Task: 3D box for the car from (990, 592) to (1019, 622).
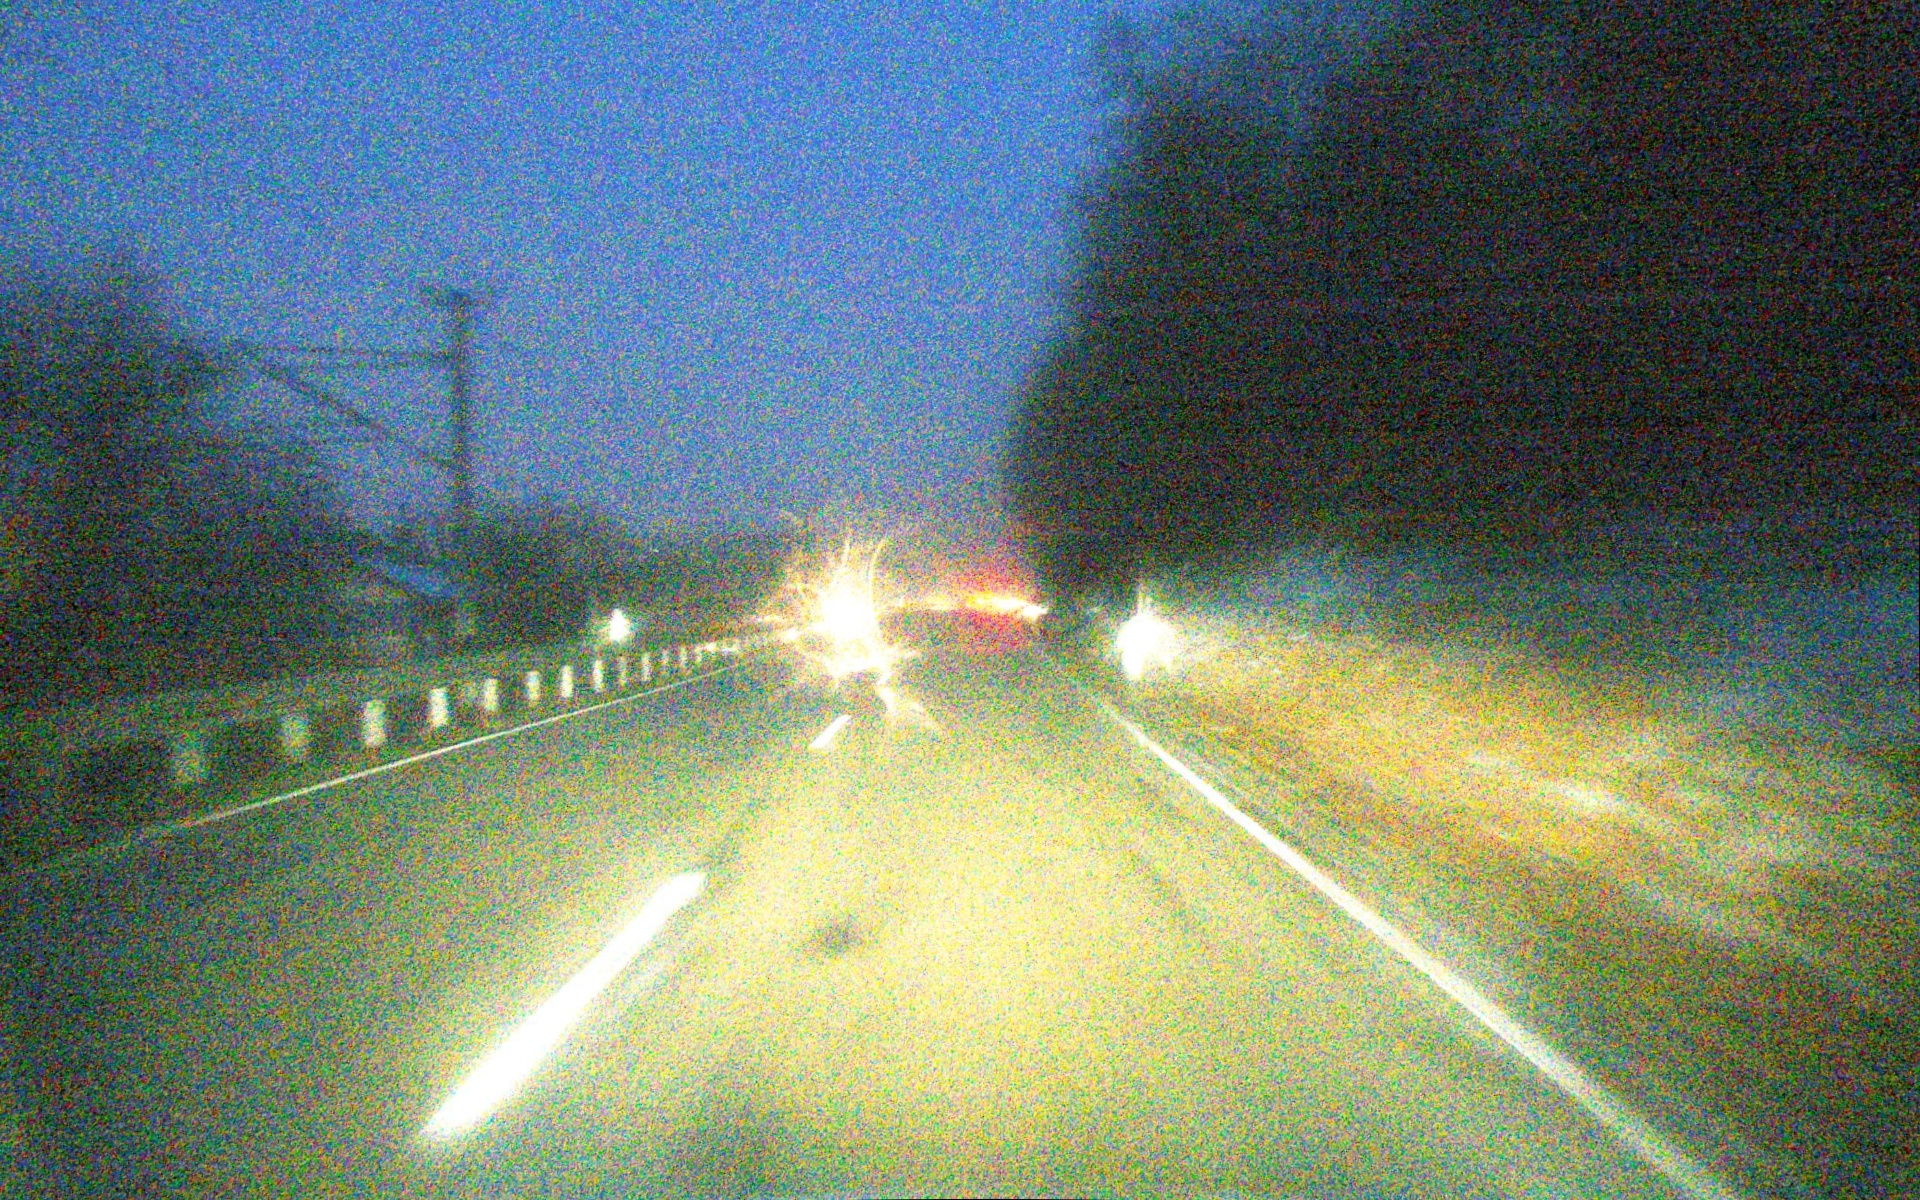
[{"bbox_3d":[3.411,0.545,125.802,2.151,2.049,4.207,0,-3,2],"label":"car"}]
